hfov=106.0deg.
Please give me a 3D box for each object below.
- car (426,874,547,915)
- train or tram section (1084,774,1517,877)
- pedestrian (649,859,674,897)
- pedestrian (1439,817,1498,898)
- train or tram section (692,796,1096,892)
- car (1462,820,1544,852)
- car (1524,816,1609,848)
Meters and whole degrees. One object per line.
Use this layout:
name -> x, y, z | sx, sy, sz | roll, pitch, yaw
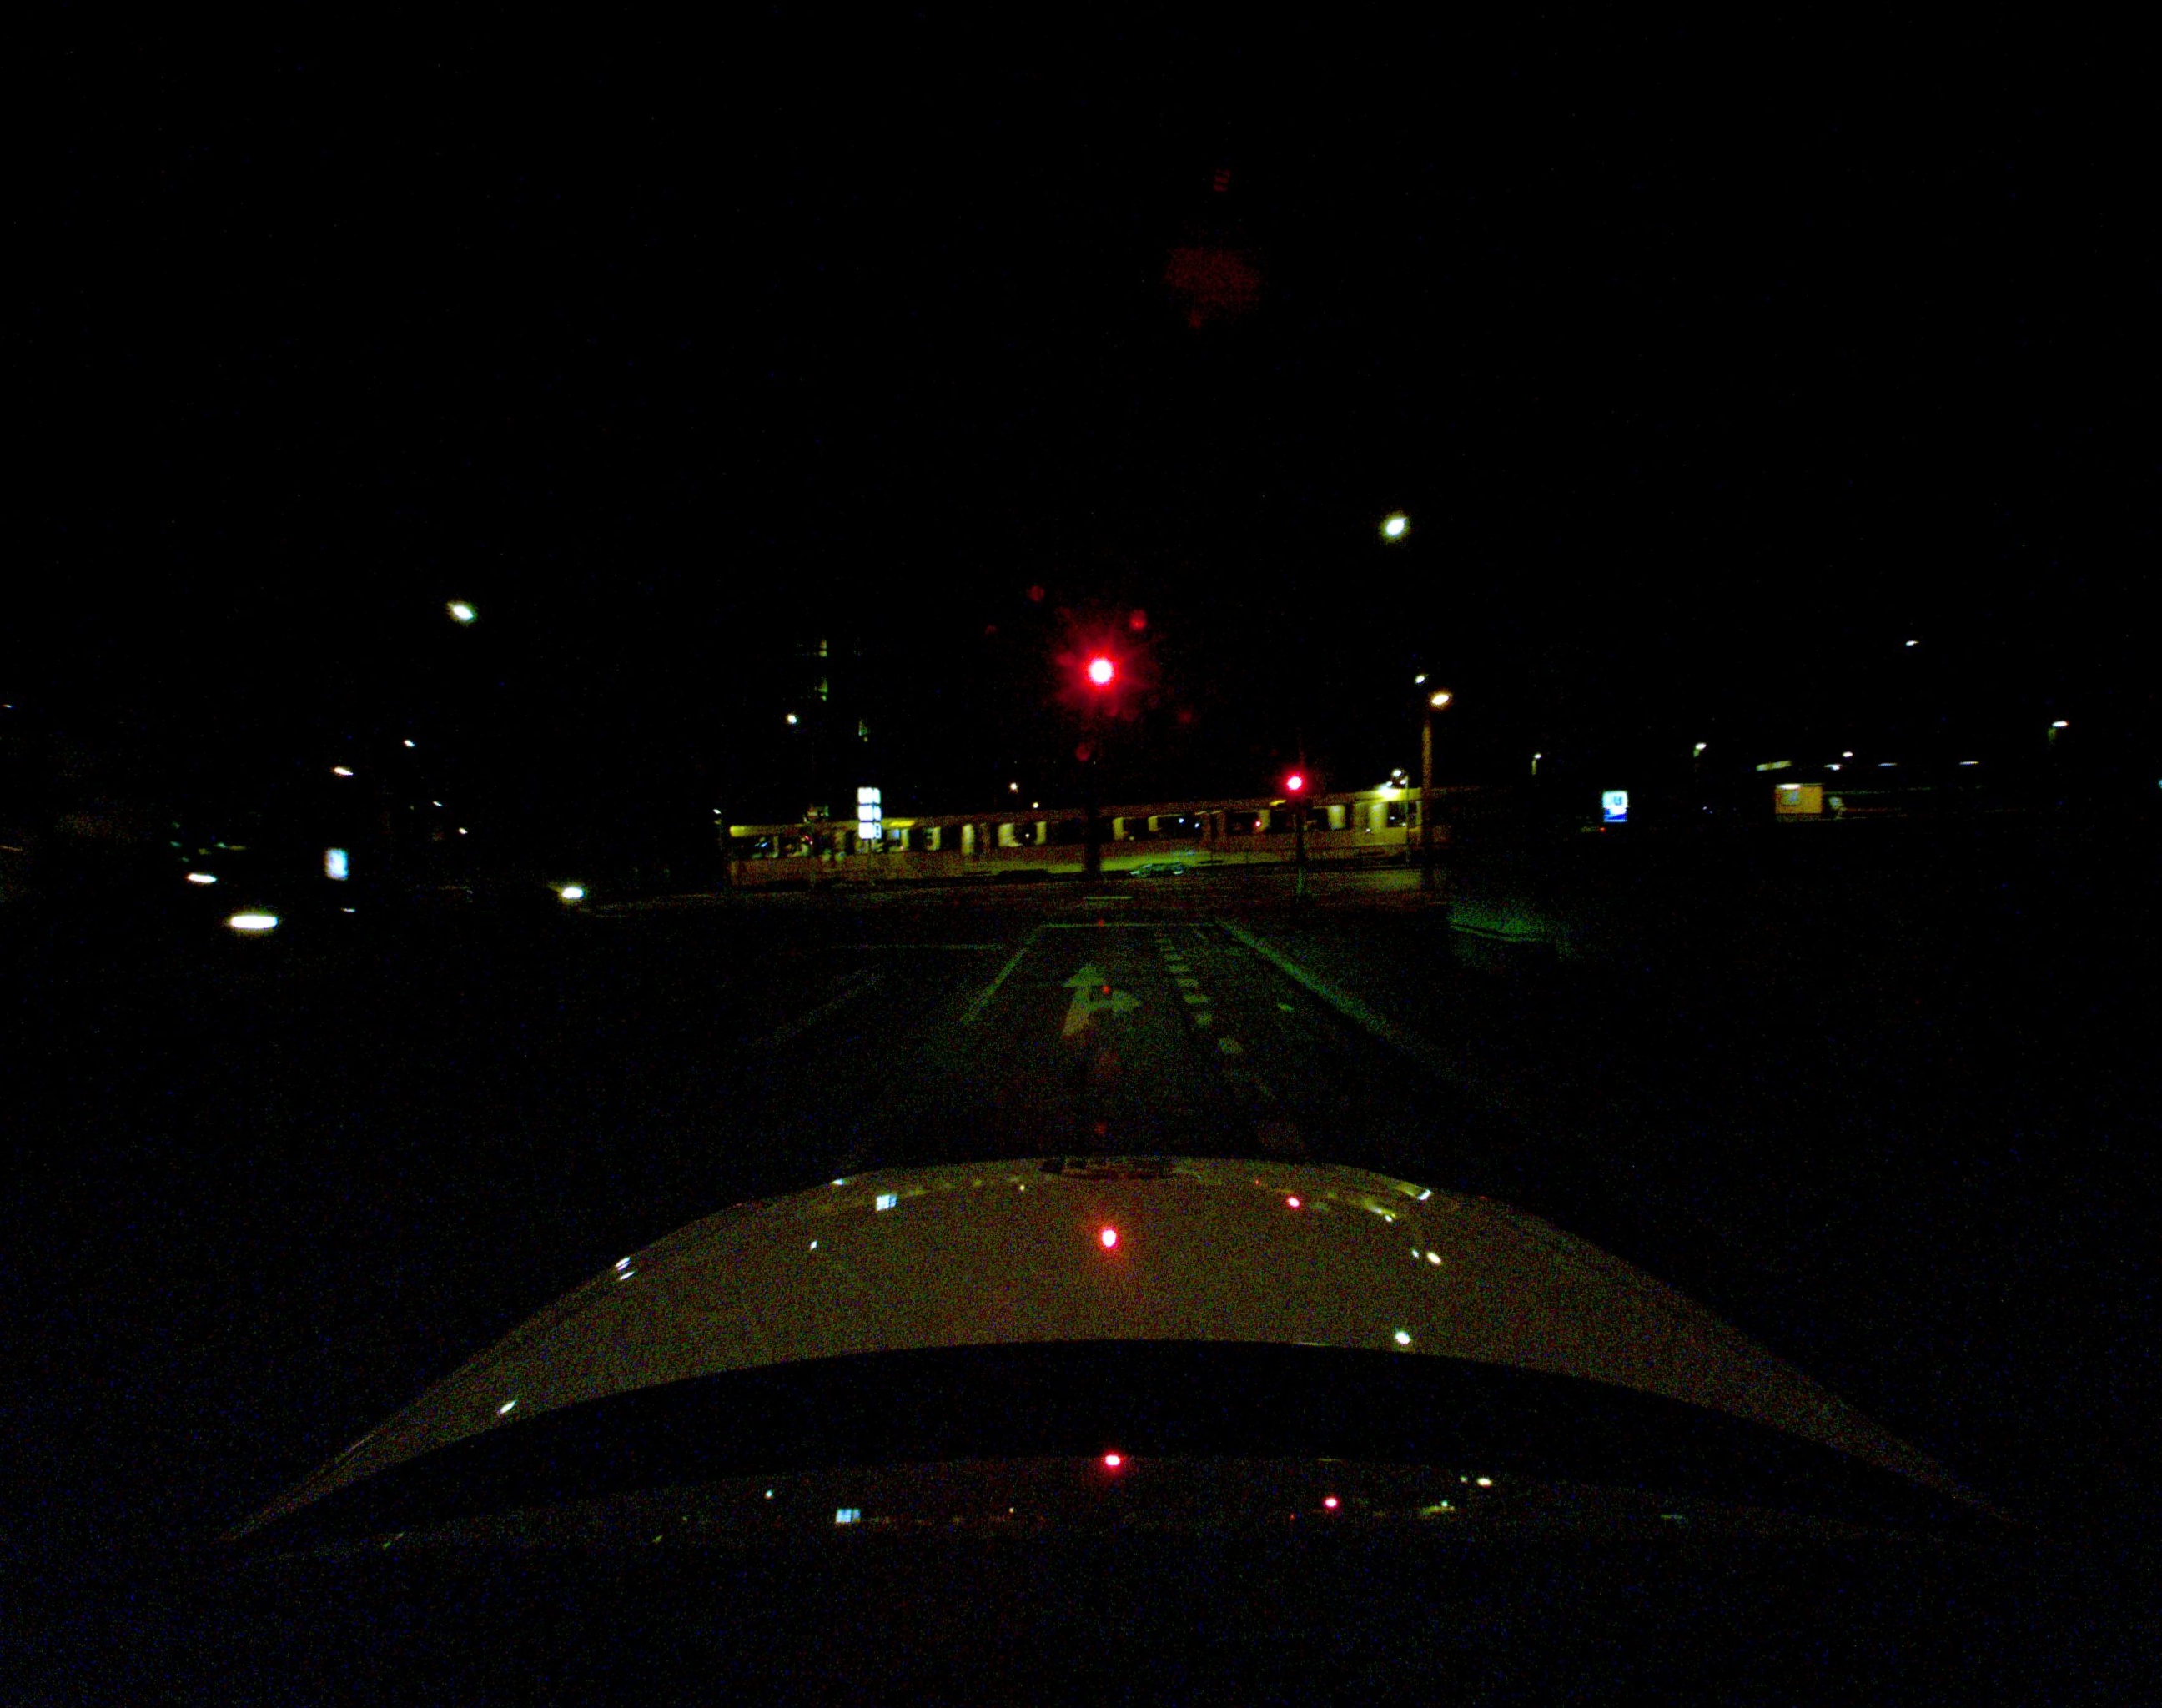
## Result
car -> -24.484, 1.646, 33.614 | 3.740, 1.480, 1.914 | -2, 0, 9
train or tram section -> 9.872, -1.238, 38.500 | 19.070, 3.823, 2.929 | -2, 0, 7
pedestrian -> -20.026, 1.143, 38.905 | 0.761, 1.737, 0.660 | -3, 1, 2
pedestrian -> 8.548, 0.079, 18.013 | 0.895, 1.712, 0.776 | -3, -1, 7
train or tram section -> -9.297, -0.408, 40.802 | 19.686, 3.861, 2.946 | -2, 0, 7
car -> 24.032, -1.041, 46.477 | 3.741, 1.527, 1.764 | -4, 0, 10
car -> 29.363, -1.322, 49.348 | 3.960, 1.574, 1.892 | -5, 0, 12
